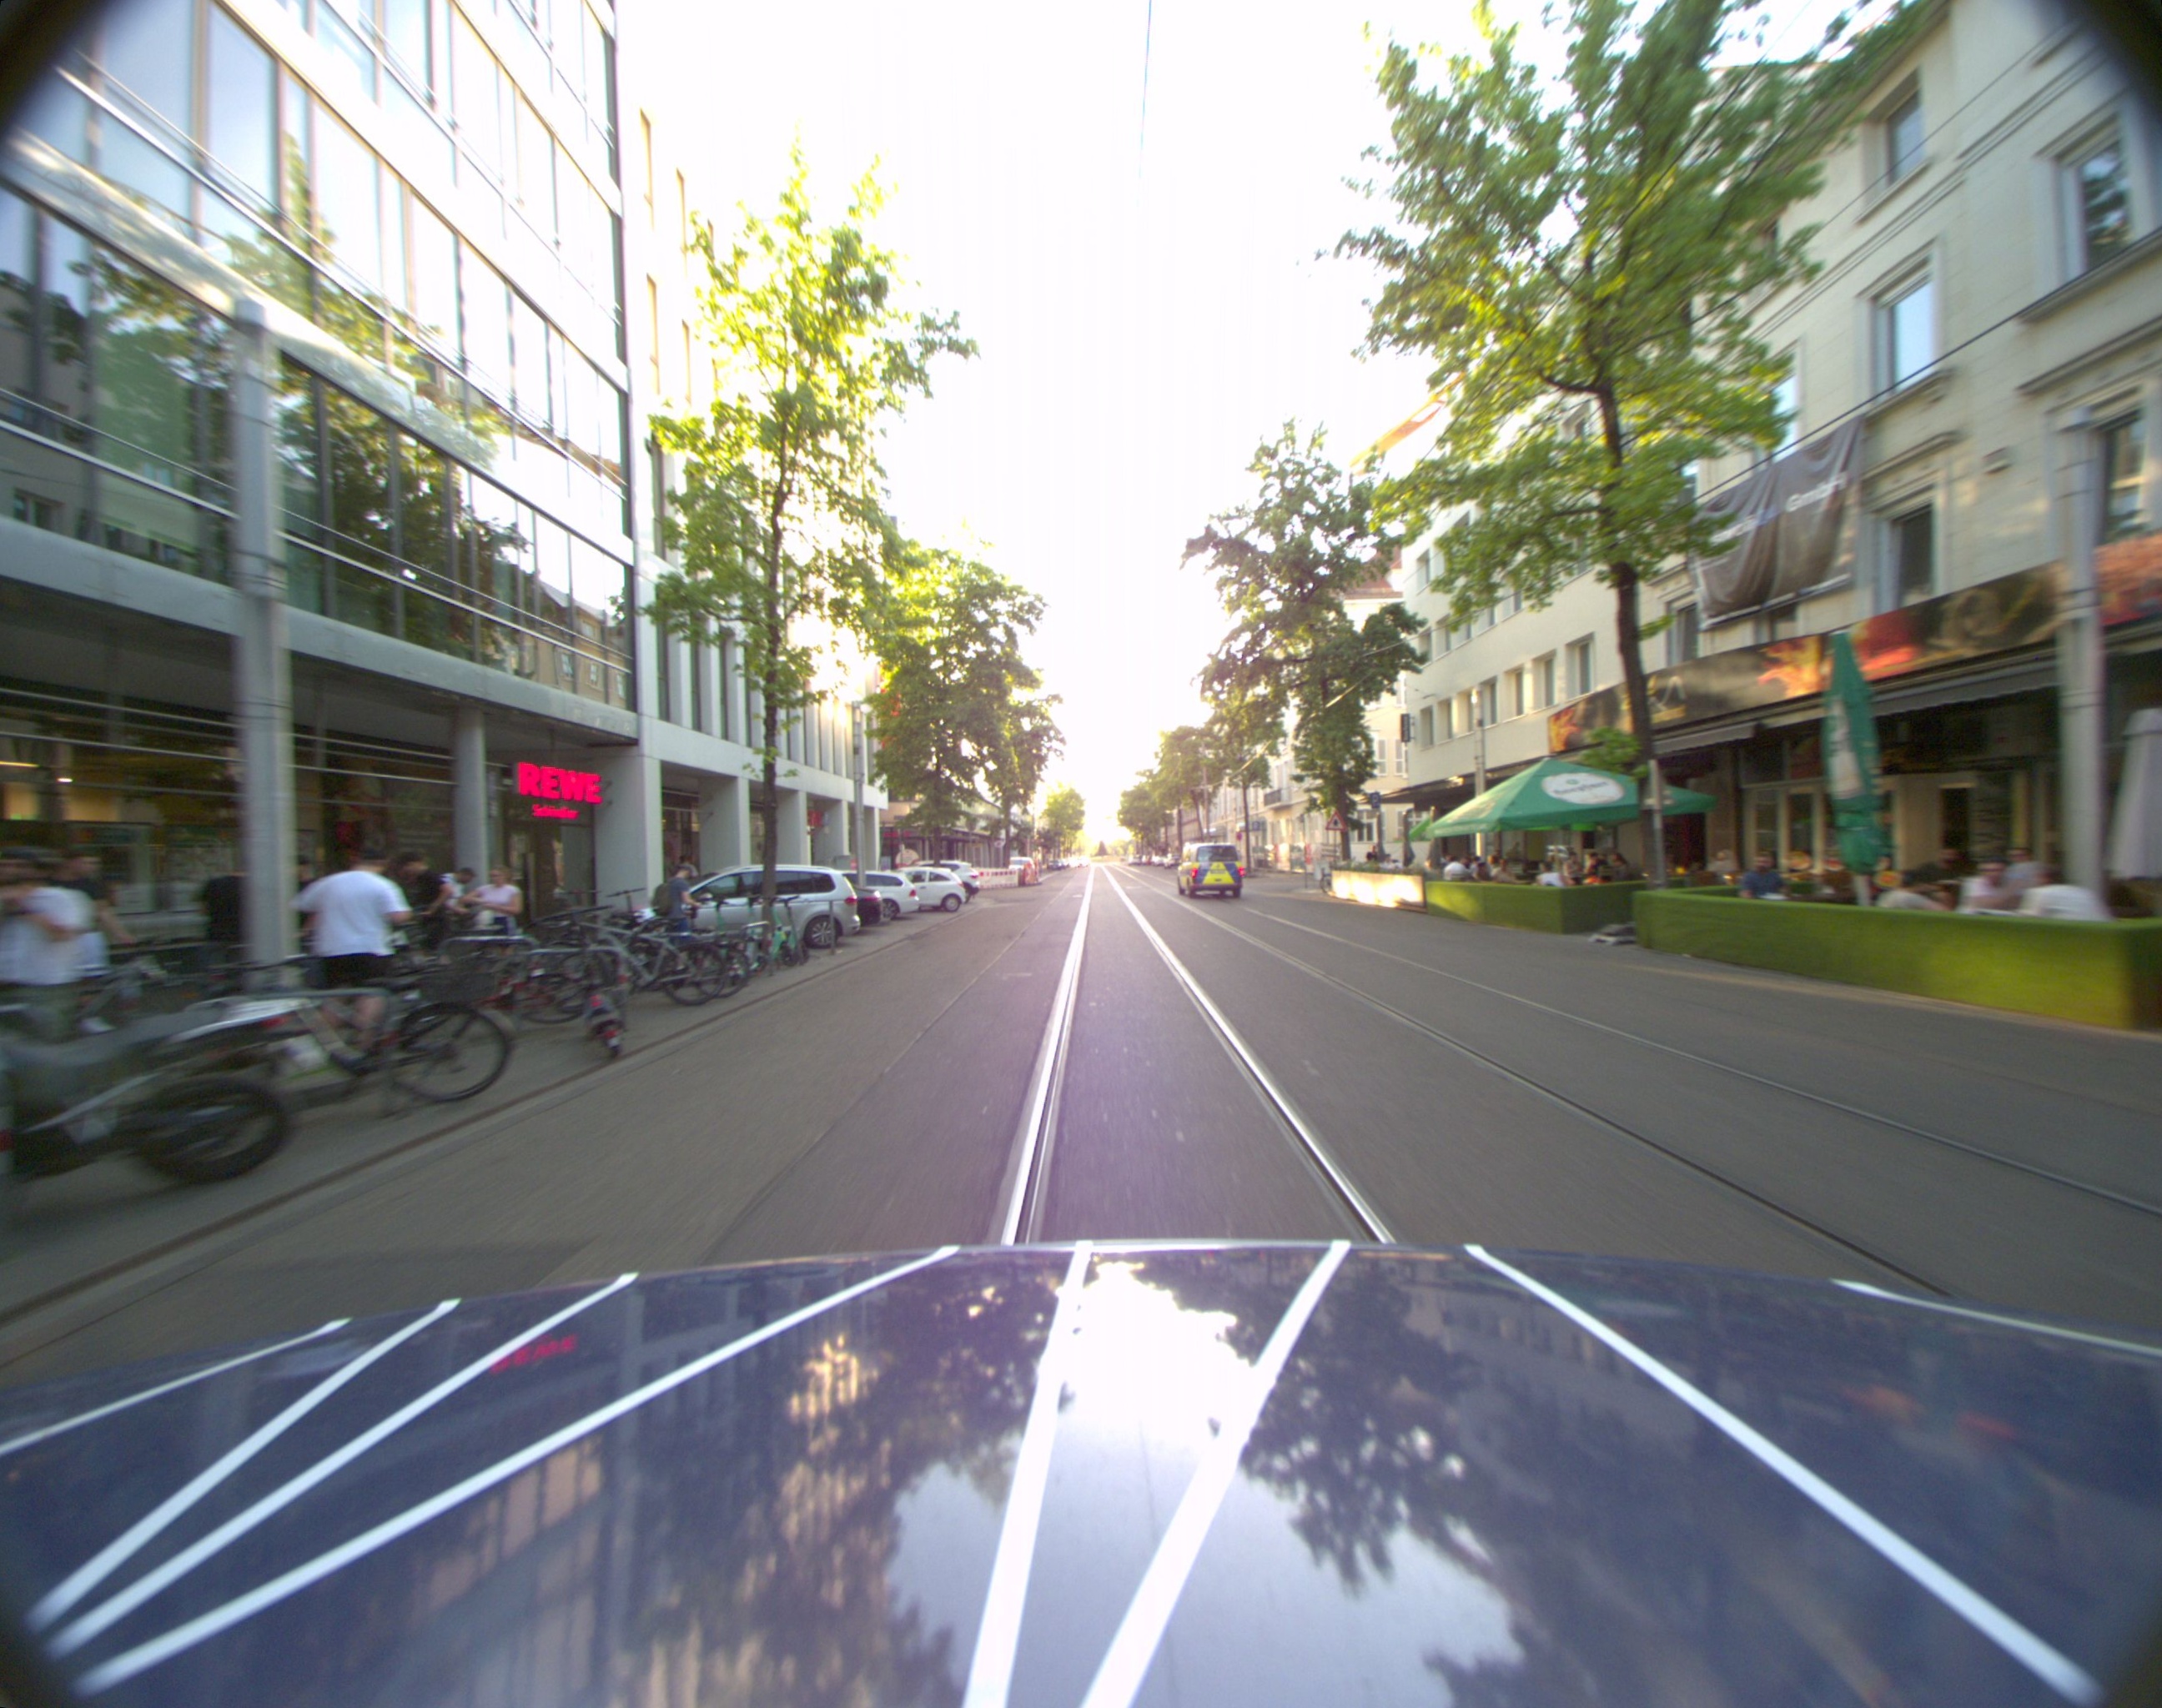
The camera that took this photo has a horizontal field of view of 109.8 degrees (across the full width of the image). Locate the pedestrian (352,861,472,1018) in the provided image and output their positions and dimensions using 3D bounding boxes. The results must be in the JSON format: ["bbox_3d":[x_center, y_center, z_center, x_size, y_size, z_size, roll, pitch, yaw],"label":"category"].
[{"bbox_3d":[-8.238,0.984,9.369,0.885,1.802,0.939,0,0,36],"label":"pedestrian"}]

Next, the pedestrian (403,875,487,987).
[{"bbox_3d":[-9.308,1.098,11.133,0.761,1.563,0.632,-1,1,24],"label":"pedestrian"}]

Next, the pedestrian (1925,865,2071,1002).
[{"bbox_3d":[9.608,0.802,7.986,0.645,1.338,0.731,-2,1,3],"label":"pedestrian"}]

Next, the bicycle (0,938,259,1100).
[{"bbox_3d":[-8.209,1.324,6.214,1.836,1.088,0.822,-1,0,-30],"label":"bicycle"}]

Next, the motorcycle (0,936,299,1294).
[{"bbox_3d":[-5.195,1.206,3.479,2.210,1.463,0.794,1,-1,-43],"label":"motorcycle"}]

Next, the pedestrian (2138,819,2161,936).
[{"bbox_3d":[12.946,0.268,8.669,0.692,1.370,0.765,-2,1,2],"label":"pedestrian"}]

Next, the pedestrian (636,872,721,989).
[{"bbox_3d":[-5.924,1.091,11.202,0.790,1.616,0.770,0,0,20],"label":"pedestrian"}]

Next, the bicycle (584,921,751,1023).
[{"bbox_3d":[-5.021,1.404,9.307,1.751,1.070,0.493,0,0,-29],"label":"bicycle"}]

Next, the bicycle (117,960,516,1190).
[{"bbox_3d":[-4.998,1.384,5.173,1.752,1.110,0.805,0,0,-31],"label":"bicycle"}]

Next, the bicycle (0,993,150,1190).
[{"bbox_3d":[-6.708,1.384,4.357,1.599,1.027,0.552,3,-1,-28],"label":"bicycle"}]

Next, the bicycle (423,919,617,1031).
[{"bbox_3d":[-6.270,1.331,8.580,1.688,1.132,0.478,1,0,-19],"label":"bicycle"}]

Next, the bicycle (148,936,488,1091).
[{"bbox_3d":[-6.574,1.340,6.689,2.002,1.141,0.697,1,-1,-17],"label":"bicycle"}]

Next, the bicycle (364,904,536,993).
[{"bbox_3d":[-9.251,1.339,11.236,0.572,1.076,1.886,0,0,24],"label":"bicycle"}]

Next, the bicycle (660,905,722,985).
[{"bbox_3d":[-6.167,1.381,11.957,0.632,1.070,1.875,1,-1,-34],"label":"bicycle"}]

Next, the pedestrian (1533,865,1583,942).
[{"bbox_3d":[8.894,0.915,14.171,0.548,1.370,0.564,-2,1,2],"label":"pedestrian"}]

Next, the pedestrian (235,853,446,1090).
[{"bbox_3d":[-6.364,0.960,6.608,0.952,1.902,0.862,1,-1,-10],"label":"pedestrian"}]

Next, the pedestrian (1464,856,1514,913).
[{"bbox_3d":[10.301,0.760,19.223,0.717,1.354,1.012,-2,1,3],"label":"pedestrian"}]

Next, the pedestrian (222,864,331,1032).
[{"bbox_3d":[-8.907,0.993,8.447,0.718,1.743,0.730,0,0,-37],"label":"pedestrian"}]

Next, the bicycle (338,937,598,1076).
[{"bbox_3d":[-5.697,1.382,7.217,1.836,1.069,0.622,1,-1,-31],"label":"bicycle"}]

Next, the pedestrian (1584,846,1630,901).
[{"bbox_3d":[13.712,0.488,19.808,0.656,1.370,0.765,-2,1,2],"label":"pedestrian"}]

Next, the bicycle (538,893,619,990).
[{"bbox_3d":[-7.469,1.253,11.261,1.590,1.281,0.581,0,-1,41],"label":"bicycle"}]

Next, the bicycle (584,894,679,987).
[{"bbox_3d":[-6.808,1.257,11.474,1.657,1.242,0.642,0,-1,37],"label":"bicycle"}]

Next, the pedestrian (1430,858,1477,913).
[{"bbox_3d":[9.515,0.788,19.444,0.717,1.354,1.012,-2,1,3],"label":"pedestrian"}]

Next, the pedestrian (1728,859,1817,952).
[{"bbox_3d":[9.851,0.718,10.842,0.710,1.257,0.600,-2,1,2],"label":"pedestrian"}]

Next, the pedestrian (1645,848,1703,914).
[{"bbox_3d":[12.898,0.574,16.548,0.656,1.370,0.765,-2,1,2],"label":"pedestrian"}]

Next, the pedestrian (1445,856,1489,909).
[{"bbox_3d":[10.314,0.744,20.323,0.717,1.354,0.924,-2,1,3],"label":"pedestrian"}]

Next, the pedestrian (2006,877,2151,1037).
[{"bbox_3d":[9.110,0.919,6.960,0.581,1.370,0.564,-2,1,2],"label":"pedestrian"}]

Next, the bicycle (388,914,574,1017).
[{"bbox_3d":[-7.198,1.319,9.181,1.696,1.143,0.501,1,0,-14],"label":"bicycle"}]

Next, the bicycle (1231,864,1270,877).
[{"bbox_3d":[10.563,1.026,47.469,2.076,0.702,1.330,-2,0,-5],"label":"bicycle"}]

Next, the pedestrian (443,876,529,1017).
[{"bbox_3d":[-7.260,1.084,9.277,0.704,1.615,0.661,0,0,36],"label":"pedestrian"}]

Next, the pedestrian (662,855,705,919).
[{"bbox_3d":[-10.930,0.901,20.908,0.681,1.689,0.806,-2,-1,1],"label":"pedestrian"}]

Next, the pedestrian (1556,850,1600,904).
[{"bbox_3d":[13.042,0.591,19.953,0.656,1.370,0.765,-2,1,2],"label":"pedestrian"}]

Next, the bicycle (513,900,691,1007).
[{"bbox_3d":[-6.166,1.253,9.886,1.835,1.266,0.680,1,0,-17],"label":"bicycle"}]

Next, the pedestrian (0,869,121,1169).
[{"bbox_3d":[-6.791,0.995,4.741,0.820,1.801,0.599,2,-1,-37],"label":"pedestrian"}]

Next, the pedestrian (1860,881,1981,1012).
[{"bbox_3d":[8.742,0.939,7.934,0.552,1.259,0.641,-2,1,2],"label":"pedestrian"}]

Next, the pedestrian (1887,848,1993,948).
[{"bbox_3d":[12.406,0.618,10.998,0.656,1.370,0.765,-2,1,2],"label":"pedestrian"}]

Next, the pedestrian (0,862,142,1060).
[{"bbox_3d":[-9.818,0.986,7.324,0.659,1.802,0.717,0,0,6],"label":"pedestrian"}]

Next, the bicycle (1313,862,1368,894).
[{"bbox_3d":[9.878,0.918,28.939,1.865,1.132,0.626,-2,1,-2],"label":"bicycle"}]

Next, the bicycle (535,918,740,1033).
[{"bbox_3d":[-5.111,1.366,8.889,1.997,1.123,0.679,1,-1,-29],"label":"bicycle"}]

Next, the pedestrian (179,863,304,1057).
[{"bbox_3d":[-8.377,1.000,7.590,0.658,1.802,0.718,0,0,31],"label":"pedestrian"}]

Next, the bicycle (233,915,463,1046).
[{"bbox_3d":[-7.708,1.288,8.102,1.699,1.182,0.553,1,-1,-37],"label":"bicycle"}]
